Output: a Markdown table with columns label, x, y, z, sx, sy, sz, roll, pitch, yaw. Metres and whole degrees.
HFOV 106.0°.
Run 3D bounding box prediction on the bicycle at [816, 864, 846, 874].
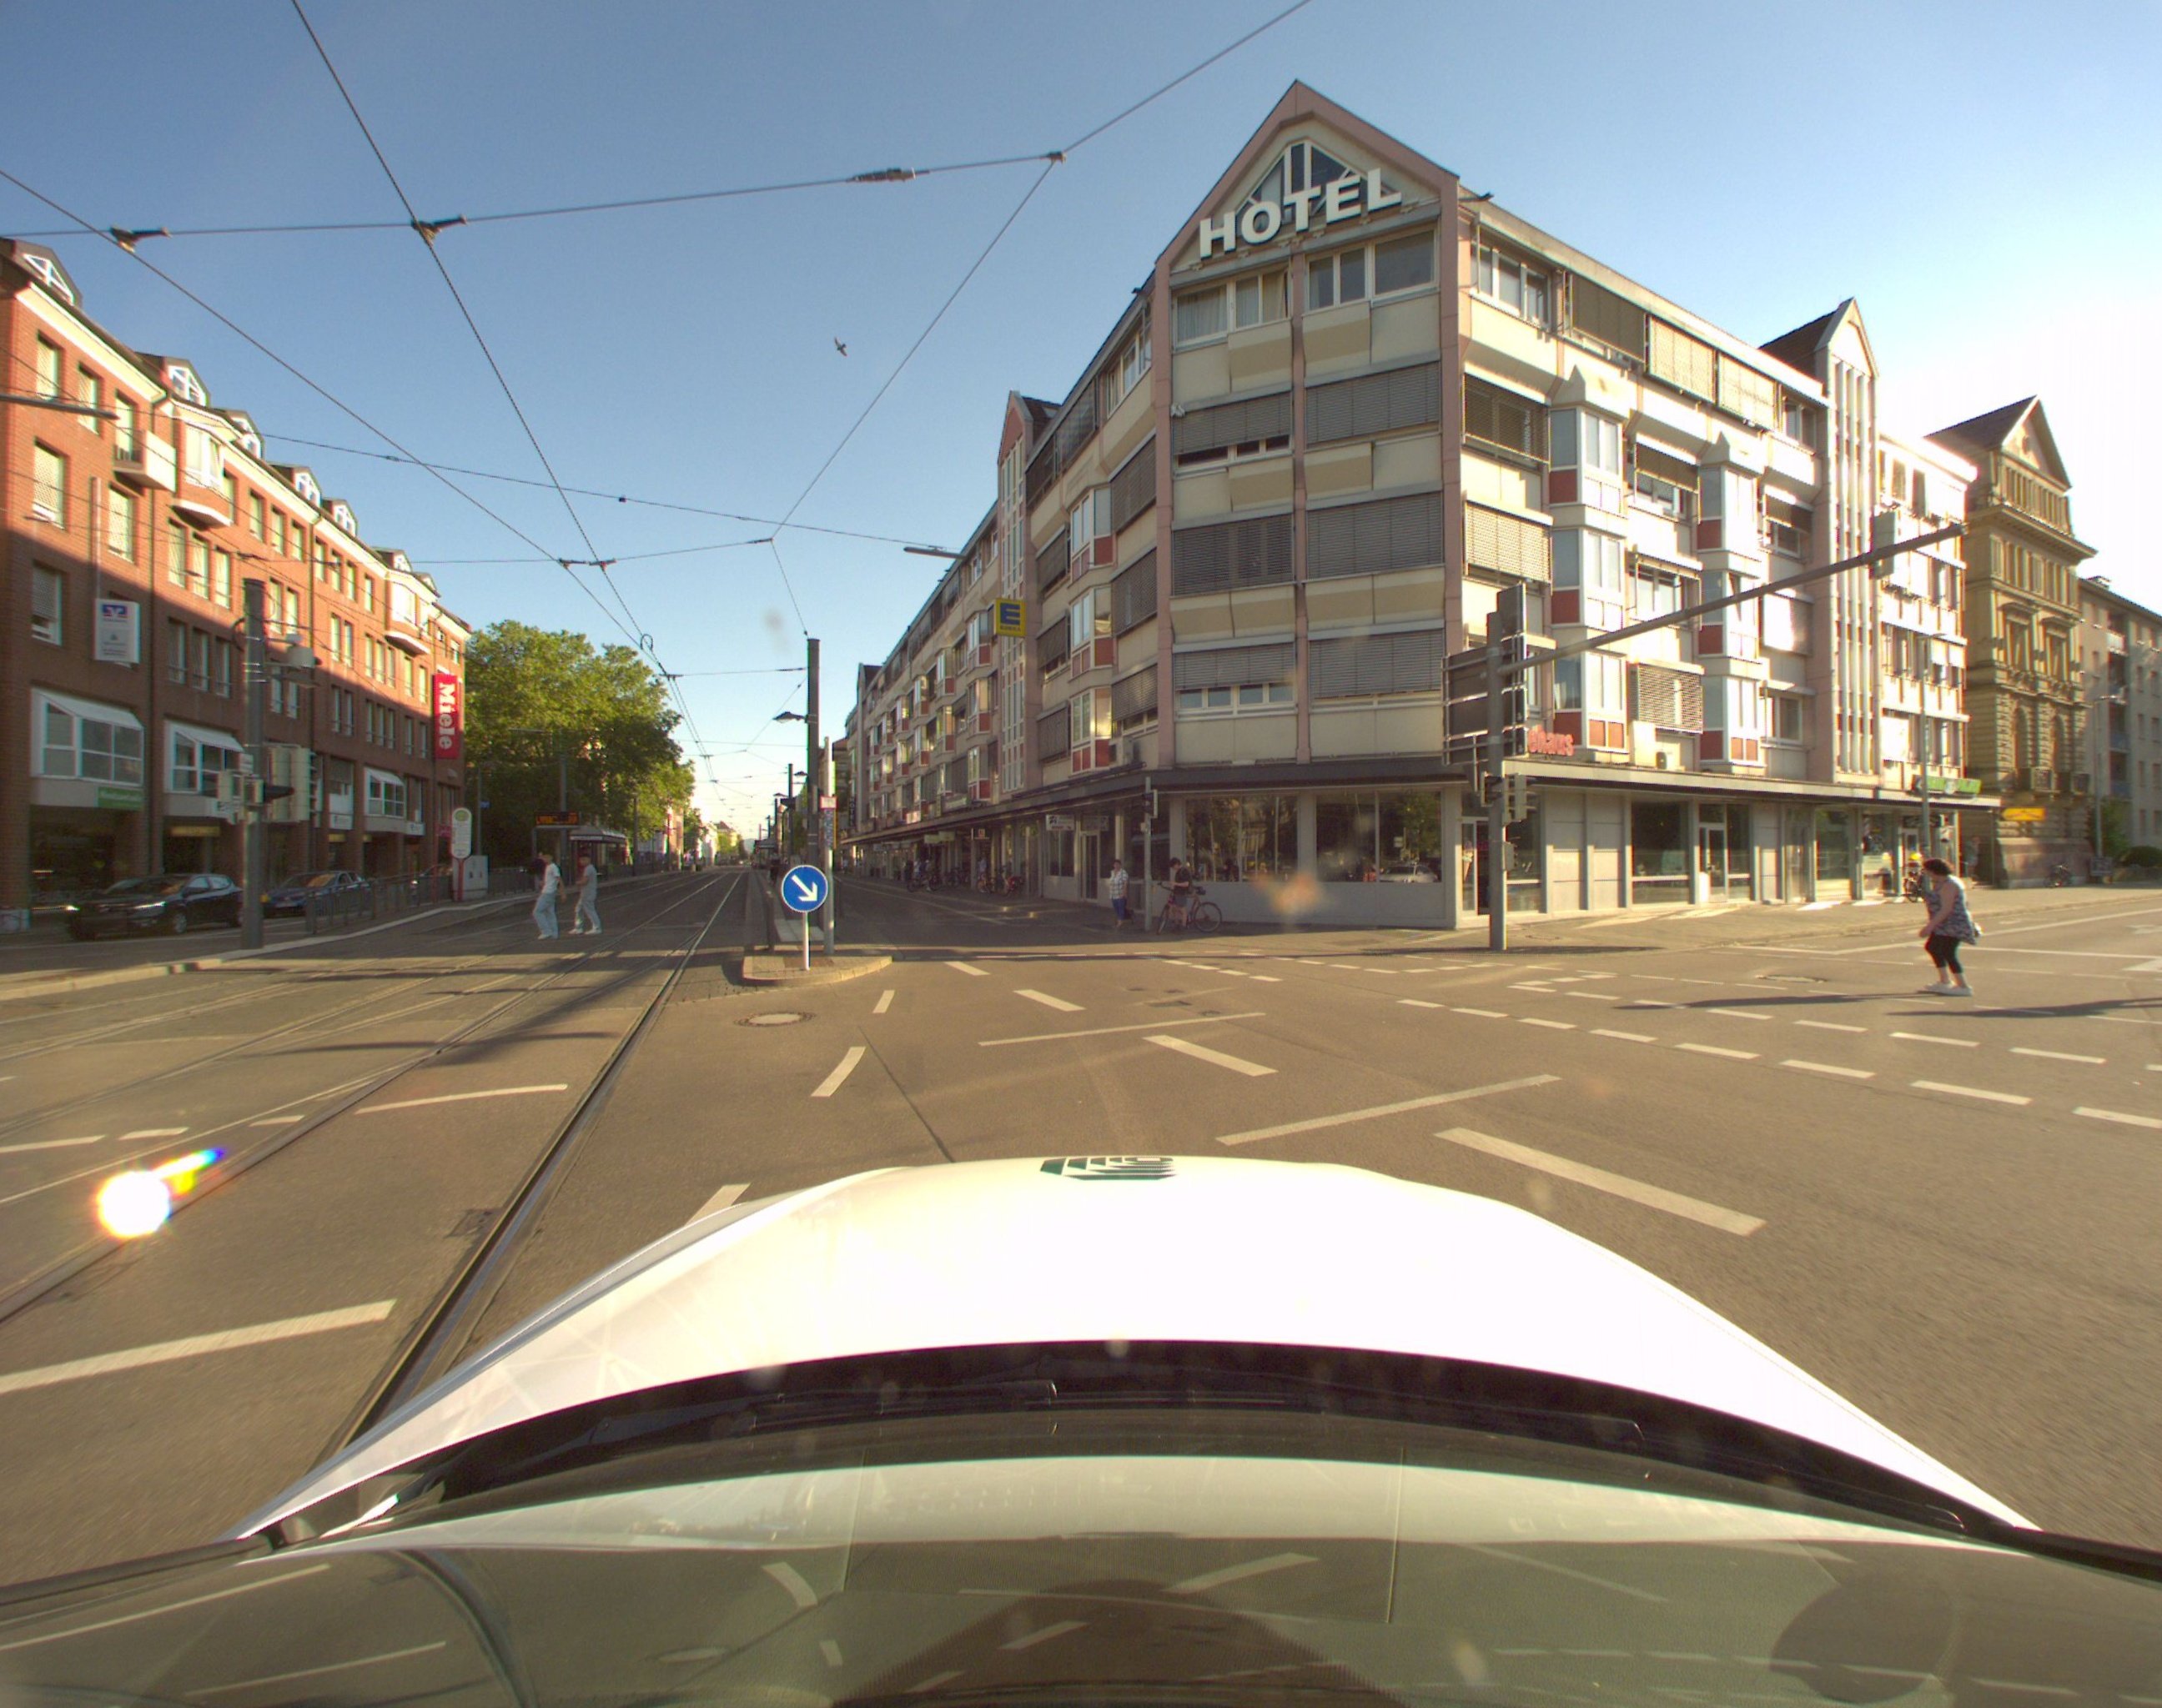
| label | x | y | z | sx | sy | sz | roll | pitch | yaw |
| --- | --- | --- | --- | --- | --- | --- | --- | --- | --- |
| bicycle | -27.698 | 1.619 | 90.289 | 0.890 | 0.992 | 3.193 | 2 | 1 | 40 |

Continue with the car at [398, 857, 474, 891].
| label | x | y | z | sx | sy | sz | roll | pitch | yaw |
| --- | --- | --- | --- | --- | --- | --- | --- | --- | --- |
| car | -30.637 | 0.932 | 38.819 | 1.751 | 1.424 | 3.910 | 0 | 1 | -21 |

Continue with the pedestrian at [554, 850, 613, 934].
| label | x | y | z | sx | sy | sz | roll | pitch | yaw |
| --- | --- | --- | --- | --- | --- | --- | --- | --- | --- |
| pedestrian | -10.452 | 0.781 | 17.118 | 0.616 | 1.694 | 0.873 | 1 | 1 | 31 |

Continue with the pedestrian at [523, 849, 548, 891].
| label | x | y | z | sx | sy | sz | roll | pitch | yaw |
| --- | --- | --- | --- | --- | --- | --- | --- | --- | --- |
| pedestrian | -21.219 | 0.614 | 31.686 | 0.614 | 1.577 | 0.695 | 1 | 1 | 42 |

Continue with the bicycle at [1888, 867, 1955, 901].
| label | x | y | z | sx | sy | sz | roll | pitch | yaw |
| --- | --- | --- | --- | --- | --- | --- | --- | --- | --- |
| bicycle | 27.331 | 0.963 | 26.479 | 2.085 | 1.070 | 0.451 | 1 | 1 | -11 |

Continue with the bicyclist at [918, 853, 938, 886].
| label | x | y | z | sx | sy | sz | roll | pitch | yaw |
| --- | --- | --- | --- | --- | --- | --- | --- | --- | --- |
| bicyclist | -7.460 | 0.738 | 39.707 | 0.803 | 1.532 | 0.623 | -3 | 1 | -26 |

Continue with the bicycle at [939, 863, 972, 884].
| label | x | y | z | sx | sy | sz | roll | pitch | yaw |
| --- | --- | --- | --- | --- | --- | --- | --- | --- | --- |
| bicycle | -6.702 | 1.032 | 43.537 | 1.653 | 1.119 | 0.561 | 0 | 1 | -28 |

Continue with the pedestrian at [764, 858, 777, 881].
| label | x | y | z | sx | sy | sz | roll | pitch | yaw |
| --- | --- | --- | --- | --- | --- | --- | --- | --- | --- |
| pedestrian | -23.216 | 1.165 | 60.879 | 0.784 | 1.659 | 0.677 | 0 | 1 | -33 |

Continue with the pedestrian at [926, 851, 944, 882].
| label | x | y | z | sx | sy | sz | roll | pitch | yaw |
| --- | --- | --- | --- | --- | --- | --- | --- | --- | --- |
| pedestrian | -8.317 | 0.705 | 46.367 | 0.814 | 1.778 | 0.681 | 1 | 1 | 2 |

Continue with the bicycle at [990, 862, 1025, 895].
| label | x | y | z | sx | sy | sz | roll | pitch | yaw |
| --- | --- | --- | --- | --- | --- | --- | --- | --- | --- |
| bicycle | -2.886 | 0.921 | 31.787 | 0.730 | 1.227 | 2.315 | 0 | 0 | -21 |

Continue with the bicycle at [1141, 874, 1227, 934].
| label | x | y | z | sx | sy | sz | roll | pitch | yaw |
| --- | --- | --- | --- | --- | --- | --- | --- | --- | --- |
| bicycle | 2.262 | 1.068 | 17.849 | 1.772 | 1.145 | 0.636 | -3 | 2 | -24 |

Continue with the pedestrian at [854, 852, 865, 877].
| label | x | y | z | sx | sy | sz | roll | pitch | yaw |
| --- | --- | --- | --- | --- | --- | --- | --- | --- | --- |
| pedestrian | -18.771 | 0.887 | 68.998 | 0.841 | 2.013 | 0.773 | 0 | 1 | -18 |

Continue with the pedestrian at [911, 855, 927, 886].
| label | x | y | z | sx | sy | sz | roll | pitch | yaw |
| --- | --- | --- | --- | --- | --- | --- | --- | --- | --- |
| pedestrian | -8.729 | 0.868 | 43.884 | 0.752 | 1.644 | 0.547 | 0 | 1 | -18 |

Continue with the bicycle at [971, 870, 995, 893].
| label | x | y | z | sx | sy | sz | roll | pitch | yaw |
| --- | --- | --- | --- | --- | --- | --- | --- | --- | --- |
| bicycle | -4.149 | 1.141 | 34.520 | 0.502 | 0.917 | 2.063 | 0 | 0 | -21 |

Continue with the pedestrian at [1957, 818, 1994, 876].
| label | x | y | z | sx | sy | sz | roll | pitch | yaw |
| --- | --- | --- | --- | --- | --- | --- | --- | --- | --- |
| pedestrian | 37.190 | -0.300 | 33.865 | 0.965 | 2.398 | 0.919 | 0 | 1 | -38 |

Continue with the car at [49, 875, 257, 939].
| label | x | y | z | sx | sy | sz | roll | pitch | yaw |
| --- | --- | --- | --- | --- | --- | --- | --- | --- | --- |
| car | -22.943 | 1.232 | 20.372 | 1.751 | 1.244 | 3.911 | 0 | 1 | -20 |

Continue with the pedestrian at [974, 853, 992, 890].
| label | x | y | z | sx | sy | sz | roll | pitch | yaw |
| --- | --- | --- | --- | --- | --- | --- | --- | --- | --- |
| pedestrian | -4.375 | 0.769 | 36.376 | 0.604 | 1.635 | 0.606 | 1 | 1 | 18 |

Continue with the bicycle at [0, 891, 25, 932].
| label | x | y | z | sx | sy | sz | roll | pitch | yaw |
| --- | --- | --- | --- | --- | --- | --- | --- | --- | --- |
| bicycle | -26.946 | 1.398 | 19.588 | 1.840 | 0.961 | 0.539 | 0 | 1 | -25 |

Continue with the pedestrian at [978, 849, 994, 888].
| label | x | y | z | sx | sy | sz | roll | pitch | yaw |
| --- | --- | --- | --- | --- | --- | --- | --- | --- | --- |
| pedestrian | -4.506 | 0.687 | 38.672 | 0.610 | 1.852 | 0.600 | 1 | 1 | -18 |

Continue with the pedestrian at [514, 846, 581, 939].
| label | x | y | z | sx | sy | sz | roll | pitch | yaw |
| --- | --- | --- | --- | --- | --- | --- | --- | --- | --- |
| pedestrian | -10.493 | 0.736 | 16.039 | 0.504 | 1.764 | 1.011 | 1 | 1 | 43 |

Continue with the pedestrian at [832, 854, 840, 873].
| label | x | y | z | sx | sy | sz | roll | pitch | yaw |
| --- | --- | --- | --- | --- | --- | --- | --- | --- | --- |
| pedestrian | -25.310 | 0.972 | 83.992 | 0.775 | 2.013 | 0.501 | 0 | 1 | -19 |

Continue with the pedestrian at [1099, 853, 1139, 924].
| label | x | y | z | sx | sy | sz | roll | pitch | yaw |
| --- | --- | --- | --- | --- | --- | --- | --- | --- | --- |
| pedestrian | 0.911 | 0.806 | 19.362 | 0.707 | 1.662 | 0.637 | -1 | -1 | 39 |

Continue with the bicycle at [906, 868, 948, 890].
| label | x | y | z | sx | sy | sz | roll | pitch | yaw |
| --- | --- | --- | --- | --- | --- | --- | --- | --- | --- |
| bicycle | -7.564 | 1.211 | 40.023 | 1.919 | 0.930 | 0.622 | -4 | 1 | -36 |

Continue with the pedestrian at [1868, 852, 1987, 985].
| label | x | y | z | sx | sy | sz | roll | pitch | yaw |
| --- | --- | --- | --- | --- | --- | --- | --- | --- | --- |
| pedestrian | 9.970 | 0.745 | 9.628 | 0.845 | 1.465 | 0.690 | 1 | -4 | 34 |

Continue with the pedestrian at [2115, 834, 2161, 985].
| label | x | y | z | sx | sy | sz | roll | pitch | yaw |
| --- | --- | --- | --- | --- | --- | --- | --- | --- | --- |
| pedestrian | 12.836 | 0.640 | 9.279 | 0.859 | 1.731 | 1.186 | 0 | 1 | -32 |

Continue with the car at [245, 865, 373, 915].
| label | x | y | z | sx | sy | sz | roll | pitch | yaw |
| --- | --- | --- | --- | --- | --- | --- | --- | --- | --- |
| car | -25.803 | 1.143 | 27.389 | 1.751 | 1.424 | 3.910 | 0 | 1 | -21 |

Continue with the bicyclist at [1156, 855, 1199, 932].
| label | x | y | z | sx | sy | sz | roll | pitch | yaw |
| --- | --- | --- | --- | --- | --- | --- | --- | --- | --- |
| bicyclist | 2.103 | 0.847 | 17.773 | 0.659 | 1.596 | 0.636 | -2 | 2 | -24 |

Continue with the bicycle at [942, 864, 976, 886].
| label | x | y | z | sx | sy | sz | roll | pitch | yaw |
| --- | --- | --- | --- | --- | --- | --- | --- | --- | --- |
| bicycle | -6.308 | 1.064 | 42.170 | 1.653 | 1.119 | 0.480 | 0 | 1 | -28 |

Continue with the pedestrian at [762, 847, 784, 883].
| label | x | y | z | sx | sy | sz | roll | pitch | yaw |
| --- | --- | --- | --- | --- | --- | --- | --- | --- | --- |
| pedestrian | -14.288 | 0.489 | 37.777 | 0.784 | 1.659 | 0.677 | 0 | 1 | -33 |
